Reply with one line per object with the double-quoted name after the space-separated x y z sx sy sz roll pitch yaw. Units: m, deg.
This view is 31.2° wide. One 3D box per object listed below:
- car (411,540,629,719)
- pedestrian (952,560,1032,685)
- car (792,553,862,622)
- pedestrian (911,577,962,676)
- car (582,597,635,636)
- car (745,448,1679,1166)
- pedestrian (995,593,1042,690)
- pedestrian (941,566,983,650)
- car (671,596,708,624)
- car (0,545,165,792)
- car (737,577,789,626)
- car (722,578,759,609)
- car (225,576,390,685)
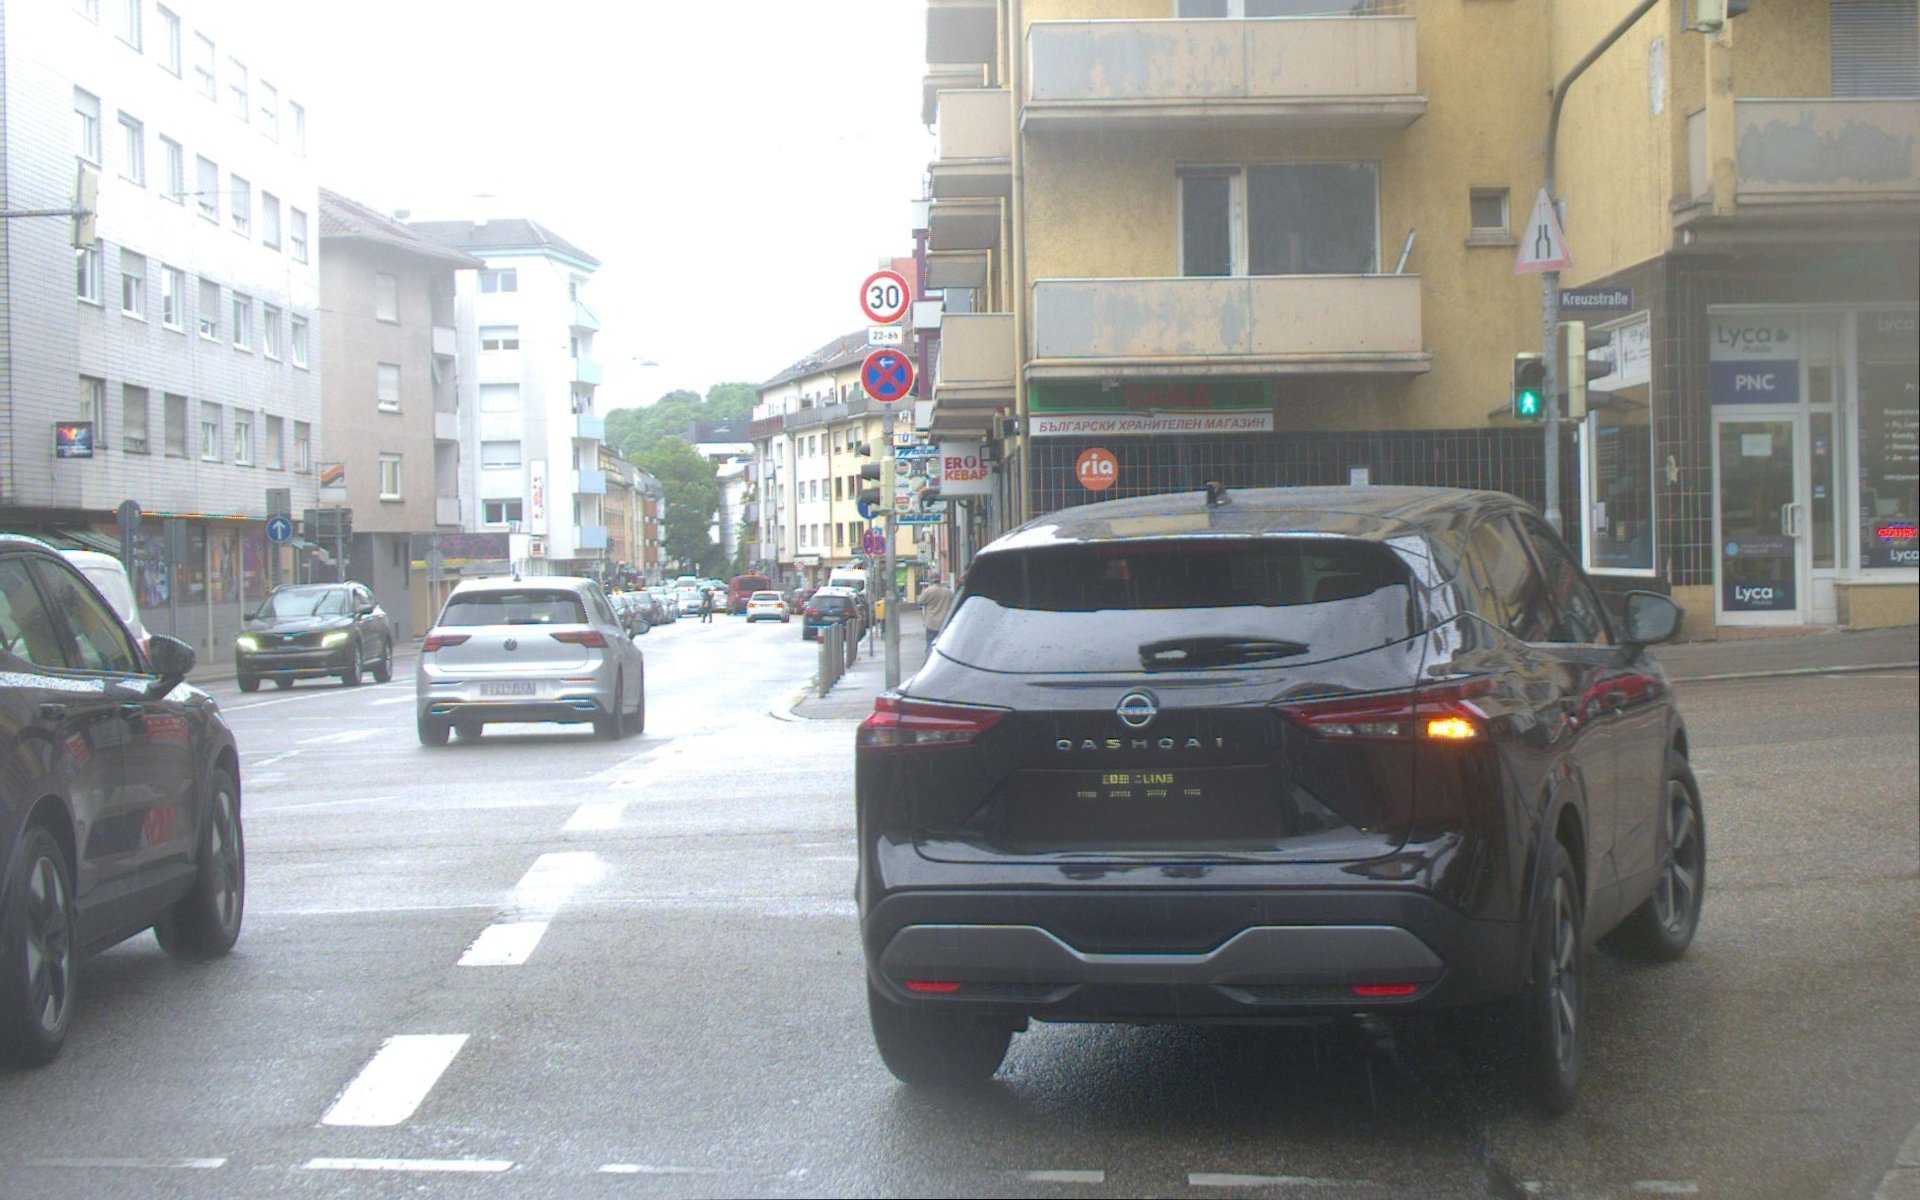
-3.932 0.216 30.752 1.767 1.439 4.001 -2 1 -7 "car"
0.420 0.290 45.447 0.835 1.553 0.833 -7 1 -2 "pedestrian"
-4.212 -0.415 108.070 1.993 2.007 4.001 -4 1 -3 "car"
-0.369 0.415 54.980 0.704 1.553 0.629 -1 1 8 "pedestrian"
-15.112 0.686 147.898 1.993 1.481 4.001 -3 1 -2 "car"
0.970 0.418 10.108 1.961 1.647 3.998 -1 2 15 "car"
0.780 0.553 45.764 0.463 1.229 0.554 -7 1 -1 "pedestrian"
0.042 0.146 64.330 0.628 1.553 0.705 -1 1 13 "pedestrian"
-15.891 0.586 202.049 1.993 1.481 4.001 -3 1 -2 "car"
-7.814 0.504 27.506 1.779 1.809 4.406 -2 1 0 "car"
-8.765 0.044 153.468 1.993 2.007 4.000 -3 1 0 "car"
-12.894 -0.382 202.545 1.993 1.632 4.831 -3 1 -2 "car"
-10.510 0.458 55.616 1.779 1.591 3.793 -2 1 2 "car"
